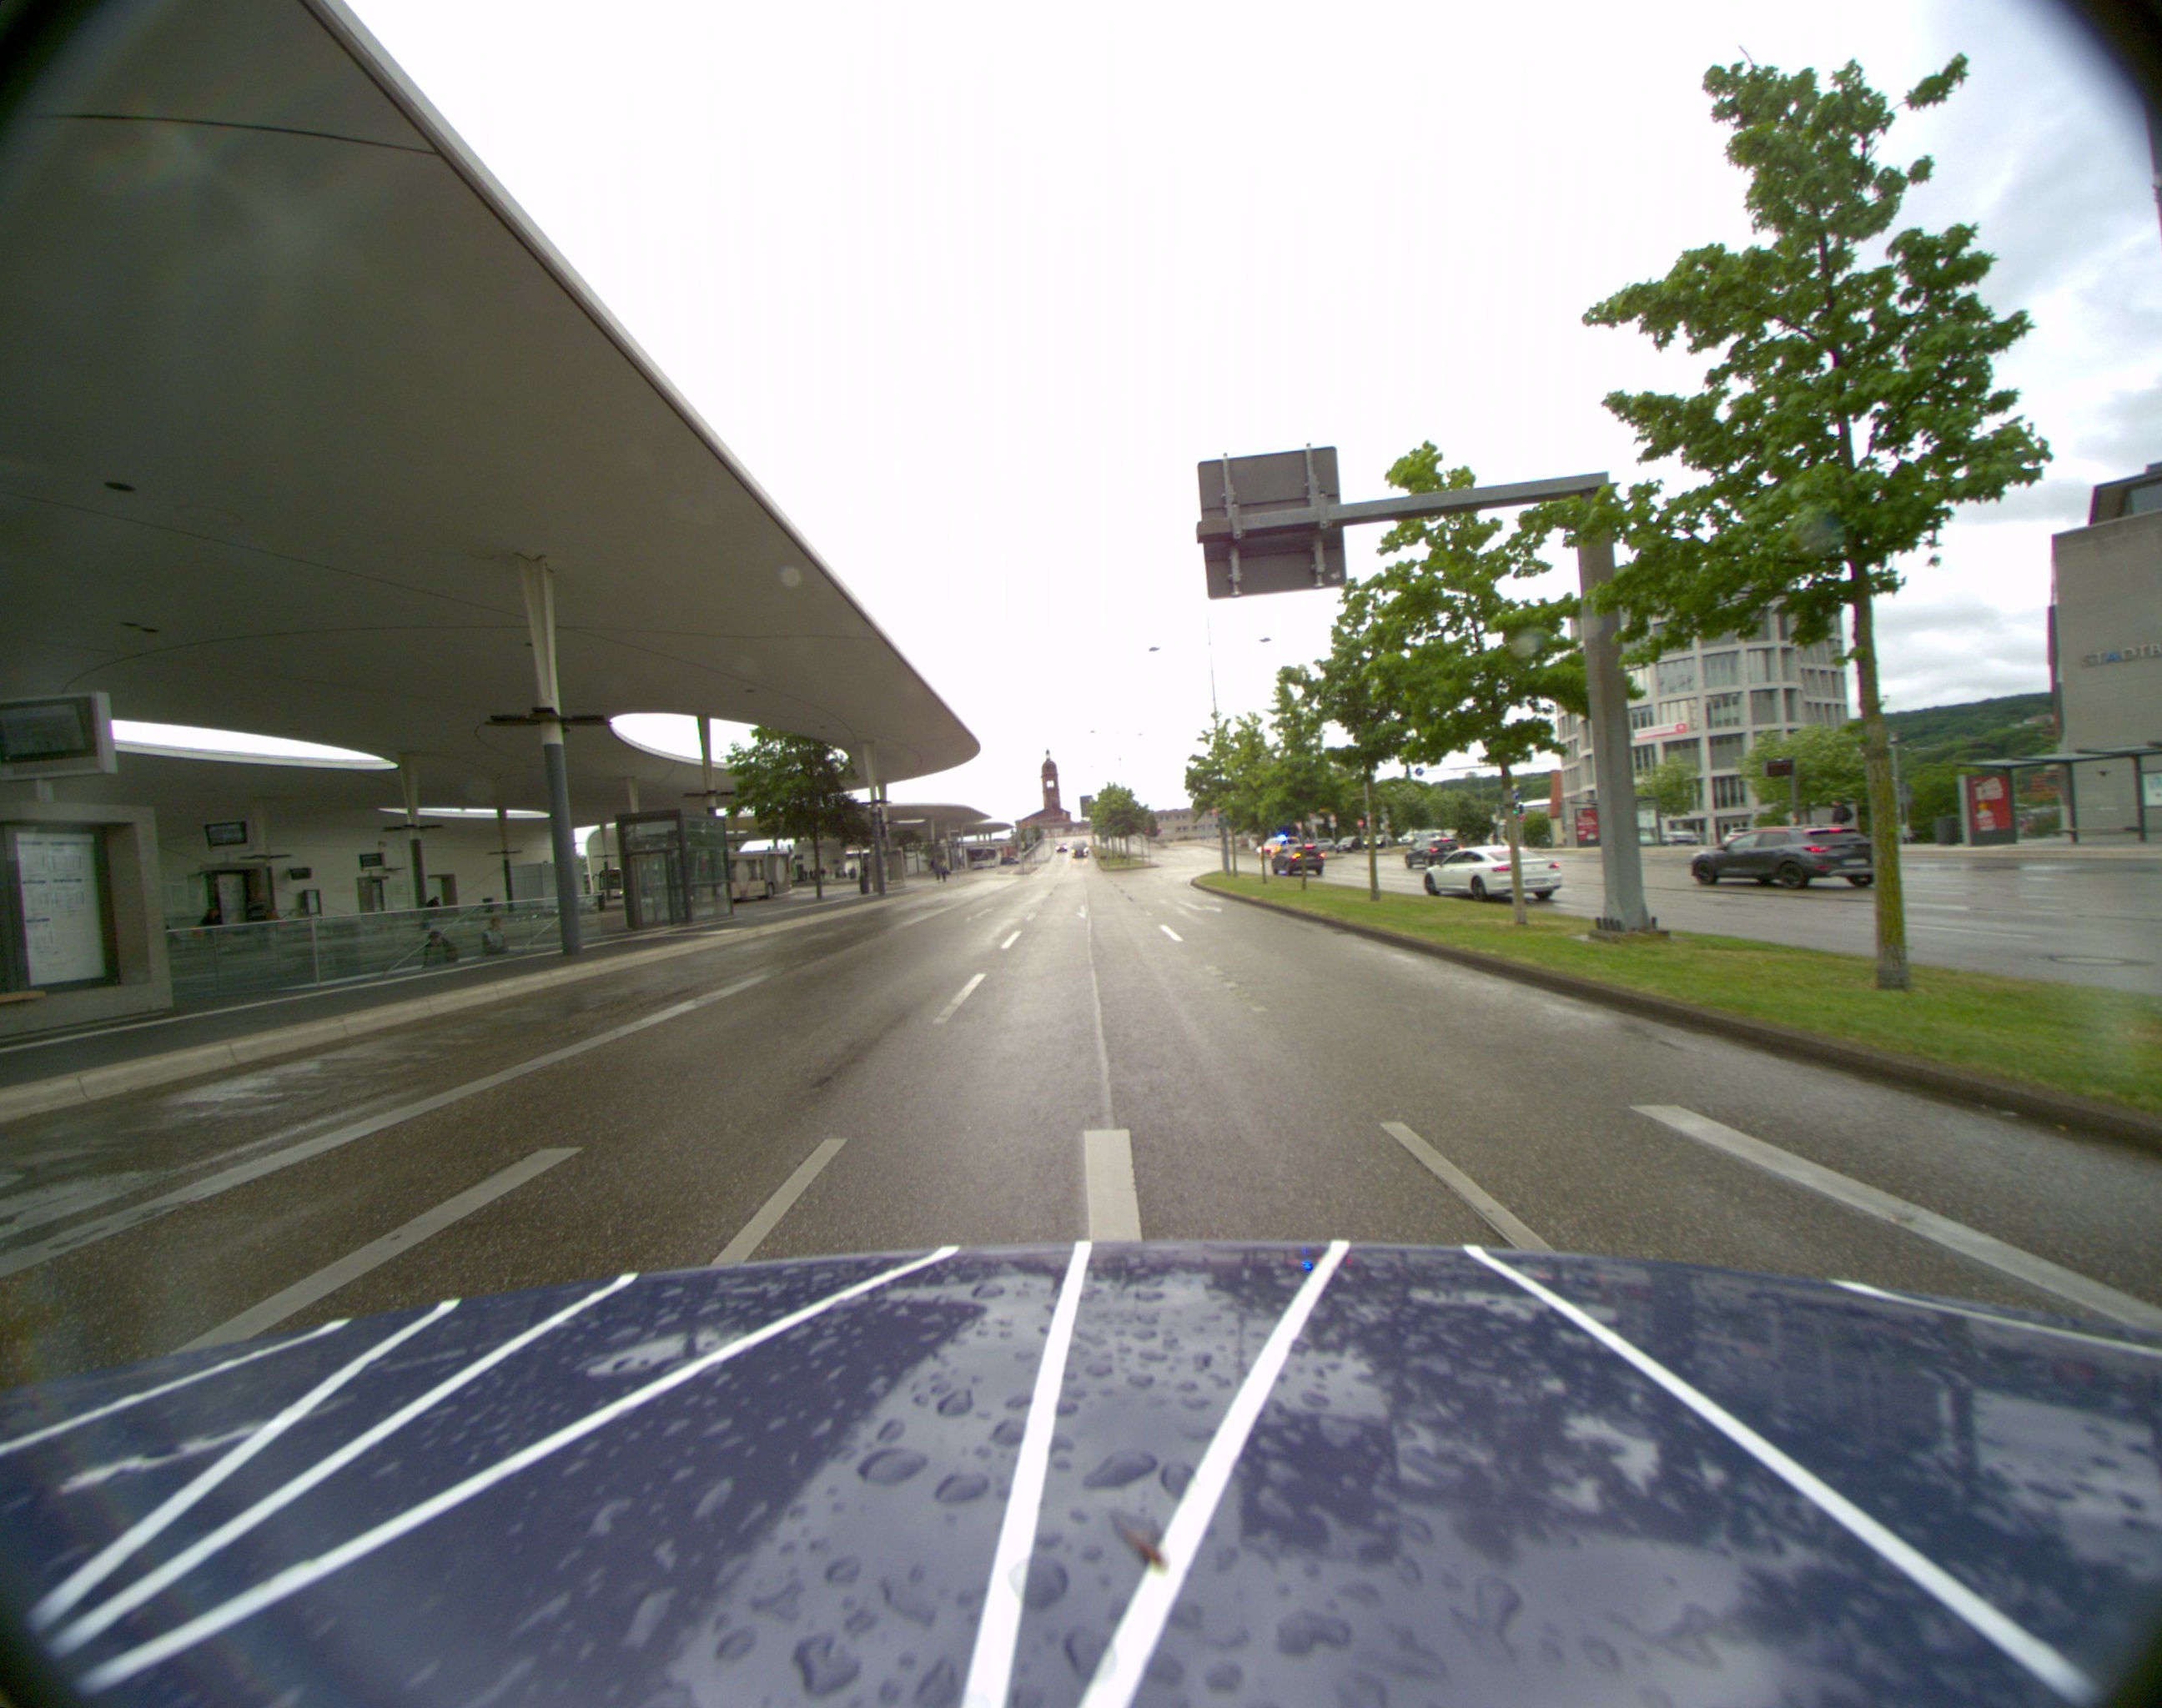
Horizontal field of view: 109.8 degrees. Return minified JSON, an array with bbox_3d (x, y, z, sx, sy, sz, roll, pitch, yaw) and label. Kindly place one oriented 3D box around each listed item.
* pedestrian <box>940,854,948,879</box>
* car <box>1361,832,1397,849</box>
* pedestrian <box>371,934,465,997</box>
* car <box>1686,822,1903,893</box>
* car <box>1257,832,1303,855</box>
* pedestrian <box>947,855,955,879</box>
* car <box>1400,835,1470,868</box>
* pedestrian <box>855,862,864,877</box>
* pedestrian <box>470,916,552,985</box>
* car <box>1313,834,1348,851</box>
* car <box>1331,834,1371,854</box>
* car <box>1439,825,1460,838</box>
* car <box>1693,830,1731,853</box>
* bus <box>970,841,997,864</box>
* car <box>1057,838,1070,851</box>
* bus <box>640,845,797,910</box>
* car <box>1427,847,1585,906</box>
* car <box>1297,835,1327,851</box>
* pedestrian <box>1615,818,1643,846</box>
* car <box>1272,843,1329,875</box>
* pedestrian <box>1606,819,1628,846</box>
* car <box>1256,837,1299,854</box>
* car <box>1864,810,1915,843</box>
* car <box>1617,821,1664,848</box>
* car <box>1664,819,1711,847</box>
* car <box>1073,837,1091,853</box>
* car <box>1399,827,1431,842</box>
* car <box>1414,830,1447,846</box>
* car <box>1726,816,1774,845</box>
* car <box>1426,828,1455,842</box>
[{"bbox_3d":[-9.871,0.918,54.741,0.445,1.753,0.537,-3,1,-6],"label":"pedestrian"},{"bbox_3d":[31.334,-1.422,79.839,4.165,1.692,1.872,-3,1,-43],"label":"car"},{"bbox_3d":[-12.701,2.120,14.586,0.882,1.048,0.958,-2,1,4],"label":"pedestrian"},{"bbox_3d":[17.791,0.048,19.255,1.884,1.545,4.002,-2,1,3],"label":"car"},{"bbox_3d":[18.525,-0.981,70.614,1.994,2.002,5.071,-1,1,41],"label":"car"},{"bbox_3d":[-9.348,0.939,54.814,0.446,1.753,0.537,-3,1,-6],"label":"pedestrian"},{"bbox_3d":[18.036,-0.139,38.911,1.884,1.545,4.002,-2,1,3],"label":"car"},{"bbox_3d":[-31.535,2.218,108.206,1.026,2.002,0.879,-3,1,-15],"label":"pedestrian"},{"bbox_3d":[-11.671,1.965,15.591,0.882,1.268,0.958,-2,1,4],"label":"pedestrian"},{"bbox_3d":[27.113,-1.290,82.537,4.165,1.692,1.872,-3,1,-43],"label":"car"},{"bbox_3d":[26.089,-0.978,73.363,4.165,1.692,1.872,-3,1,-44],"label":"car"},{"bbox_3d":[51.750,-3.180,106.677,1.872,1.624,4.165,-2,1,35],"label":"car"},{"bbox_3d":[49.747,-0.998,59.900,4.165,1.692,1.872,-3,1,-44],"label":"car"},{"bbox_3d":[-14.693,-0.193,113.863,3.584,3.080,10.746,-3,0,-8],"label":"bus"},{"bbox_3d":[-2.744,-1.474,120.765,1.999,2.002,3.999,-2,1,-2],"label":"car"},{"bbox_3d":[-19.773,1.077,42.733,2.876,3.064,11.920,-2,1,1],"label":"bus"},{"bbox_3d":[11.242,0.535,20.483,2.010,1.345,4.165,-2,1,2],"label":"car"},{"bbox_3d":[26.086,-1.277,85.762,1.872,1.624,4.165,-3,0,35],"label":"car"},{"bbox_3d":[29.587,-1.171,41.040,0.983,1.481,0.735,-2,1,11],"label":"pedestrian"},{"bbox_3d":[11.677,0.248,40.644,2.009,1.545,4.165,-2,1,3],"label":"car"},{"bbox_3d":[29.664,-1.185,42.039,0.732,1.481,0.734,-2,1,9],"label":"pedestrian"},{"bbox_3d":[20.527,-0.908,79.283,4.054,1.550,1.809,-3,1,-23],"label":"car"},{"bbox_3d":[45.832,-1.575,43.128,4.165,1.692,1.872,-3,1,-44],"label":"car"},{"bbox_3d":[37.873,-1.360,51.373,4.165,1.692,1.872,-3,1,-44],"label":"car"},{"bbox_3d":[39.561,-1.404,49.518,4.165,1.692,1.872,-3,1,-44],"label":"car"},{"bbox_3d":[0.076,-1.173,101.294,1.999,2.002,3.998,-2,1,-5],"label":"car"},{"bbox_3d":[39.188,-2.315,89.068,4.309,1.624,1.872,-3,1,-43],"label":"car"},{"bbox_3d":[38.570,-1.780,83.875,4.165,1.624,1.872,-3,1,-43],"label":"car"},{"bbox_3d":[41.712,-1.477,47.353,4.165,1.692,1.872,-3,1,-44],"label":"car"},{"bbox_3d":[46.203,-2.484,97.692,4.165,1.624,1.872,-3,1,-43],"label":"car"}]
